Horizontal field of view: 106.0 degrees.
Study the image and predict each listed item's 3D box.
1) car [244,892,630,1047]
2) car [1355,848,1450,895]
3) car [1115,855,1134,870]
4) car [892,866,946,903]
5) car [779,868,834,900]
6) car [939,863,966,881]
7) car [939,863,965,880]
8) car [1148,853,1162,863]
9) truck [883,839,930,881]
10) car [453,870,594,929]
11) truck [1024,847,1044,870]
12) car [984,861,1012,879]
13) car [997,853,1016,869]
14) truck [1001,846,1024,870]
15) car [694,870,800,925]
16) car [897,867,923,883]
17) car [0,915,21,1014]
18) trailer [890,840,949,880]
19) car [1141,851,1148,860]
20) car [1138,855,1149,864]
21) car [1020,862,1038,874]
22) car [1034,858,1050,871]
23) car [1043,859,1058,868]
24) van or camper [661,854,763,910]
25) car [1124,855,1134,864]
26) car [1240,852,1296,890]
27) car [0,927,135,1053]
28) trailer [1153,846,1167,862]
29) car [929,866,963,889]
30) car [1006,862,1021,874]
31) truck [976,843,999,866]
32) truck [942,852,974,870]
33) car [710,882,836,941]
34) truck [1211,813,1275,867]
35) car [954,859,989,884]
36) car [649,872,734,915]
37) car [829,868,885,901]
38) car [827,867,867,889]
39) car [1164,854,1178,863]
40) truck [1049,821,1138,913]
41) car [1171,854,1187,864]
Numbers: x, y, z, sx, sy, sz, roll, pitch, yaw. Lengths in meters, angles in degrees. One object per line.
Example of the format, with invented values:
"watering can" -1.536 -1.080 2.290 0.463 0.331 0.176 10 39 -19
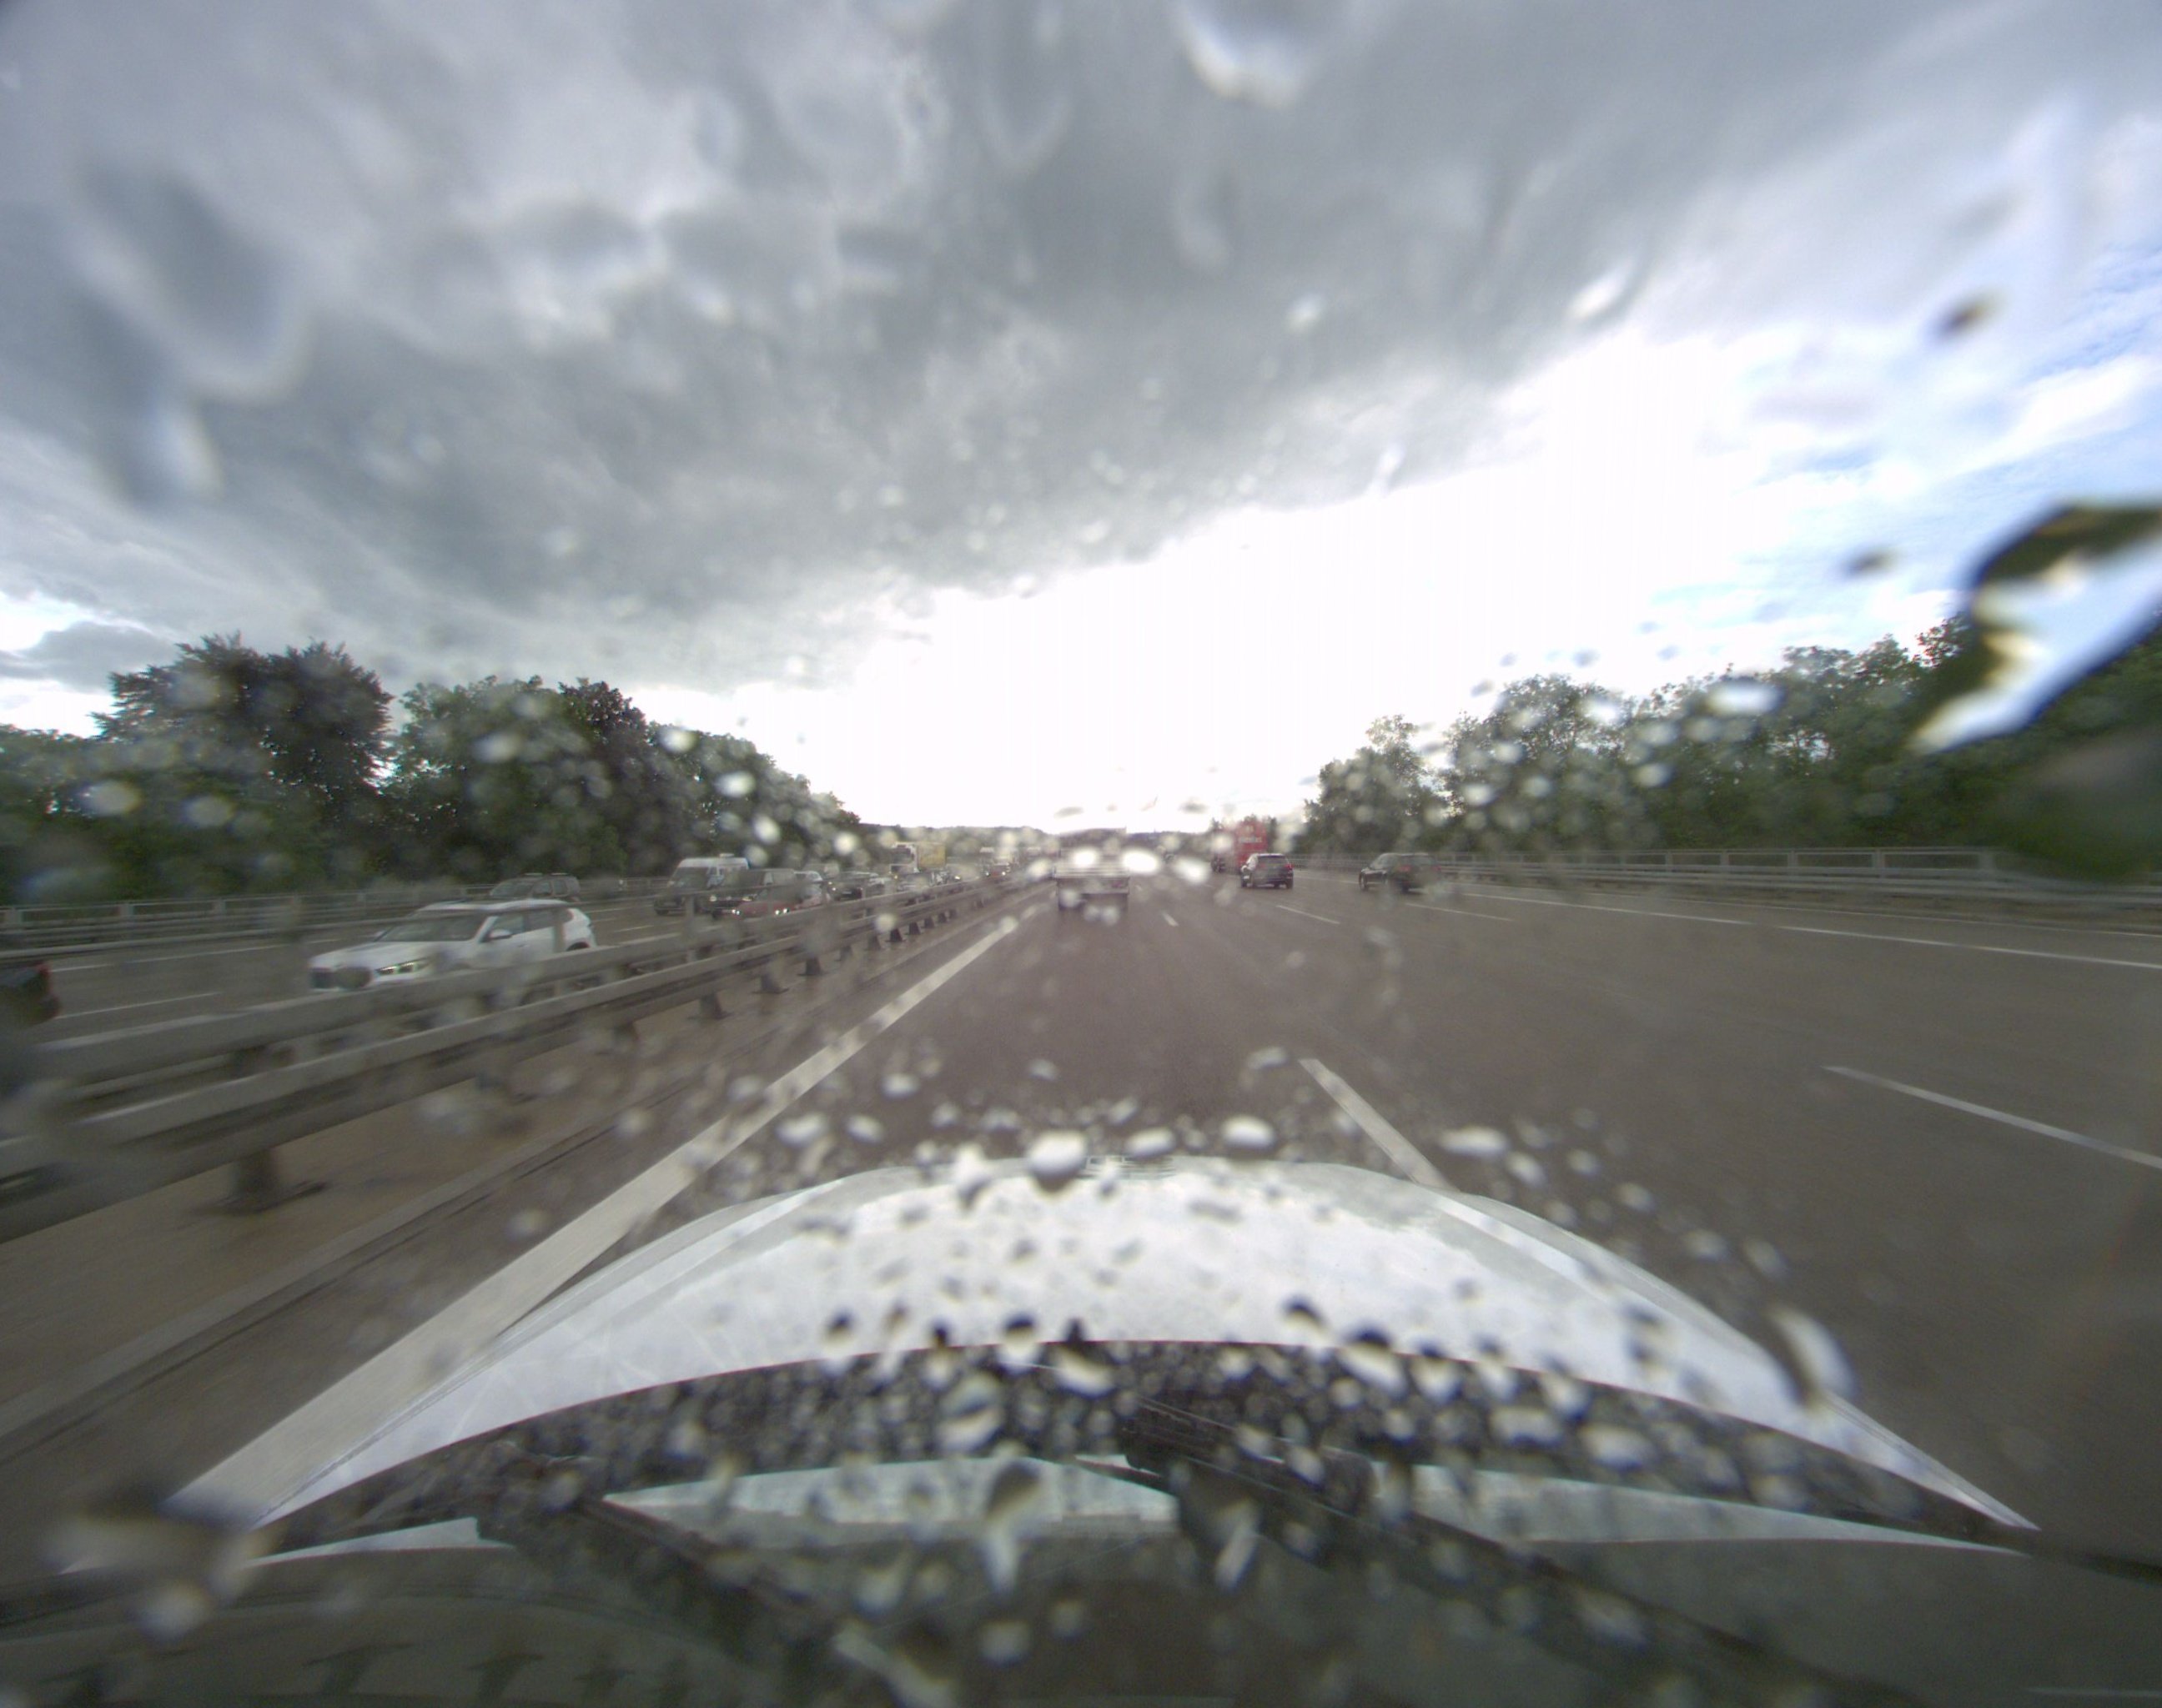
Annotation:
"car" -9.719 1.598 13.093 1.819 1.675 5.359 -2 0 1
"car" 11.697 0.597 29.929 1.808 1.543 4.358 -1 0 1
"car" 5.058 0.964 94.409 2.036 1.699 4.004 -1 0 4
"car" -9.102 1.667 46.278 1.860 1.826 5.708 -2 0 0
"car" -16.361 1.751 48.742 1.722 1.612 4.462 -2 0 0
"car" -12.295 1.670 78.147 1.774 1.612 4.576 -2 0 0
"car" -14.102 1.899 89.184 1.986 1.662 4.001 -2 0 1
"car" 13.191 0.667 145.557 2.090 1.699 4.001 -1 0 1
"truck" -18.927 0.649 88.597 3.235 4.250 6.886 -2 0 2
"car" -21.267 1.673 31.374 2.070 1.945 4.758 -2 0 0
"truck" -8.648 0.842 151.807 2.869 4.180 7.561 -2 0 2
"car" -7.515 1.433 74.292 1.988 1.463 4.841 -2 0 0
"car" -12.252 1.139 134.785 2.147 2.504 6.776 -2 0 2
"truck" -12.369 0.669 147.032 2.891 4.147 7.109 -2 0 4
"car" -13.169 1.644 32.531 1.885 1.902 5.006 -2 -1 3
"car" -15.350 1.864 73.127 1.443 1.300 3.999 -2 0 0
"car" -17.455 1.716 10.699 1.784 1.501 3.999 -2 0 0
"trailer" -18.627 0.675 95.358 3.234 4.228 14.518 -2 0 2
"car" 17.488 0.422 224.705 2.036 2.498 4.004 -1 0 4
"car" 12.504 1.083 163.708 2.037 1.699 4.003 -1 0 3
"car" -6.465 1.686 101.309 1.756 1.383 4.821 -2 0 1
"car" -5.687 1.519 119.183 1.906 1.766 5.334 -2 0 2
"car" -5.083 1.578 137.307 2.007 1.387 5.462 -2 0 2
"van or camper" -20.120 1.438 44.898 2.194 2.765 7.231 -2 0 0
"car" 9.876 1.134 168.176 1.965 1.699 4.001 -1 0 1
"car" 8.263 0.743 36.210 1.785 1.562 3.724 -1 -1 3
"car" -14.018 1.751 8.810 1.671 1.409 5.015 -2 0 0
"trailer" 20.661 -0.009 213.269 3.317 4.176 11.852 -1 0 4
"car" -10.845 1.850 65.567 1.850 1.708 4.002 -2 0 2
"car" -9.852 2.053 119.496 1.742 1.577 4.690 -2 0 1
"truck" -16.836 0.077 147.348 2.747 3.994 6.583 -2 0 4
"truck" -17.421 0.981 115.735 2.670 2.371 9.280 -2 0 2
"car" -9.510 1.717 25.685 1.867 1.392 5.364 -2 0 0
"truck" 13.452 -1.079 69.065 3.139 4.003 15.651 -1 0 4
"car" -8.182 1.259 61.190 1.861 1.669 5.173 -2 0 0
"car" -16.688 1.644 35.104 1.671 1.579 3.999 -2 0 0
"car" -12.597 1.694 46.033 1.857 1.612 4.462 -2 0 0
"car" -16.272 1.645 56.807 1.628 1.418 3.999 -2 0 0
"car" 17.139 0.815 155.340 2.038 1.699 5.007 -1 0 1
"truck" 0.397 0.344 25.254 2.345 2.408 7.359 -1 0 1
"car" 15.926 0.784 132.671 2.097 1.605 5.066 -1 0 1
